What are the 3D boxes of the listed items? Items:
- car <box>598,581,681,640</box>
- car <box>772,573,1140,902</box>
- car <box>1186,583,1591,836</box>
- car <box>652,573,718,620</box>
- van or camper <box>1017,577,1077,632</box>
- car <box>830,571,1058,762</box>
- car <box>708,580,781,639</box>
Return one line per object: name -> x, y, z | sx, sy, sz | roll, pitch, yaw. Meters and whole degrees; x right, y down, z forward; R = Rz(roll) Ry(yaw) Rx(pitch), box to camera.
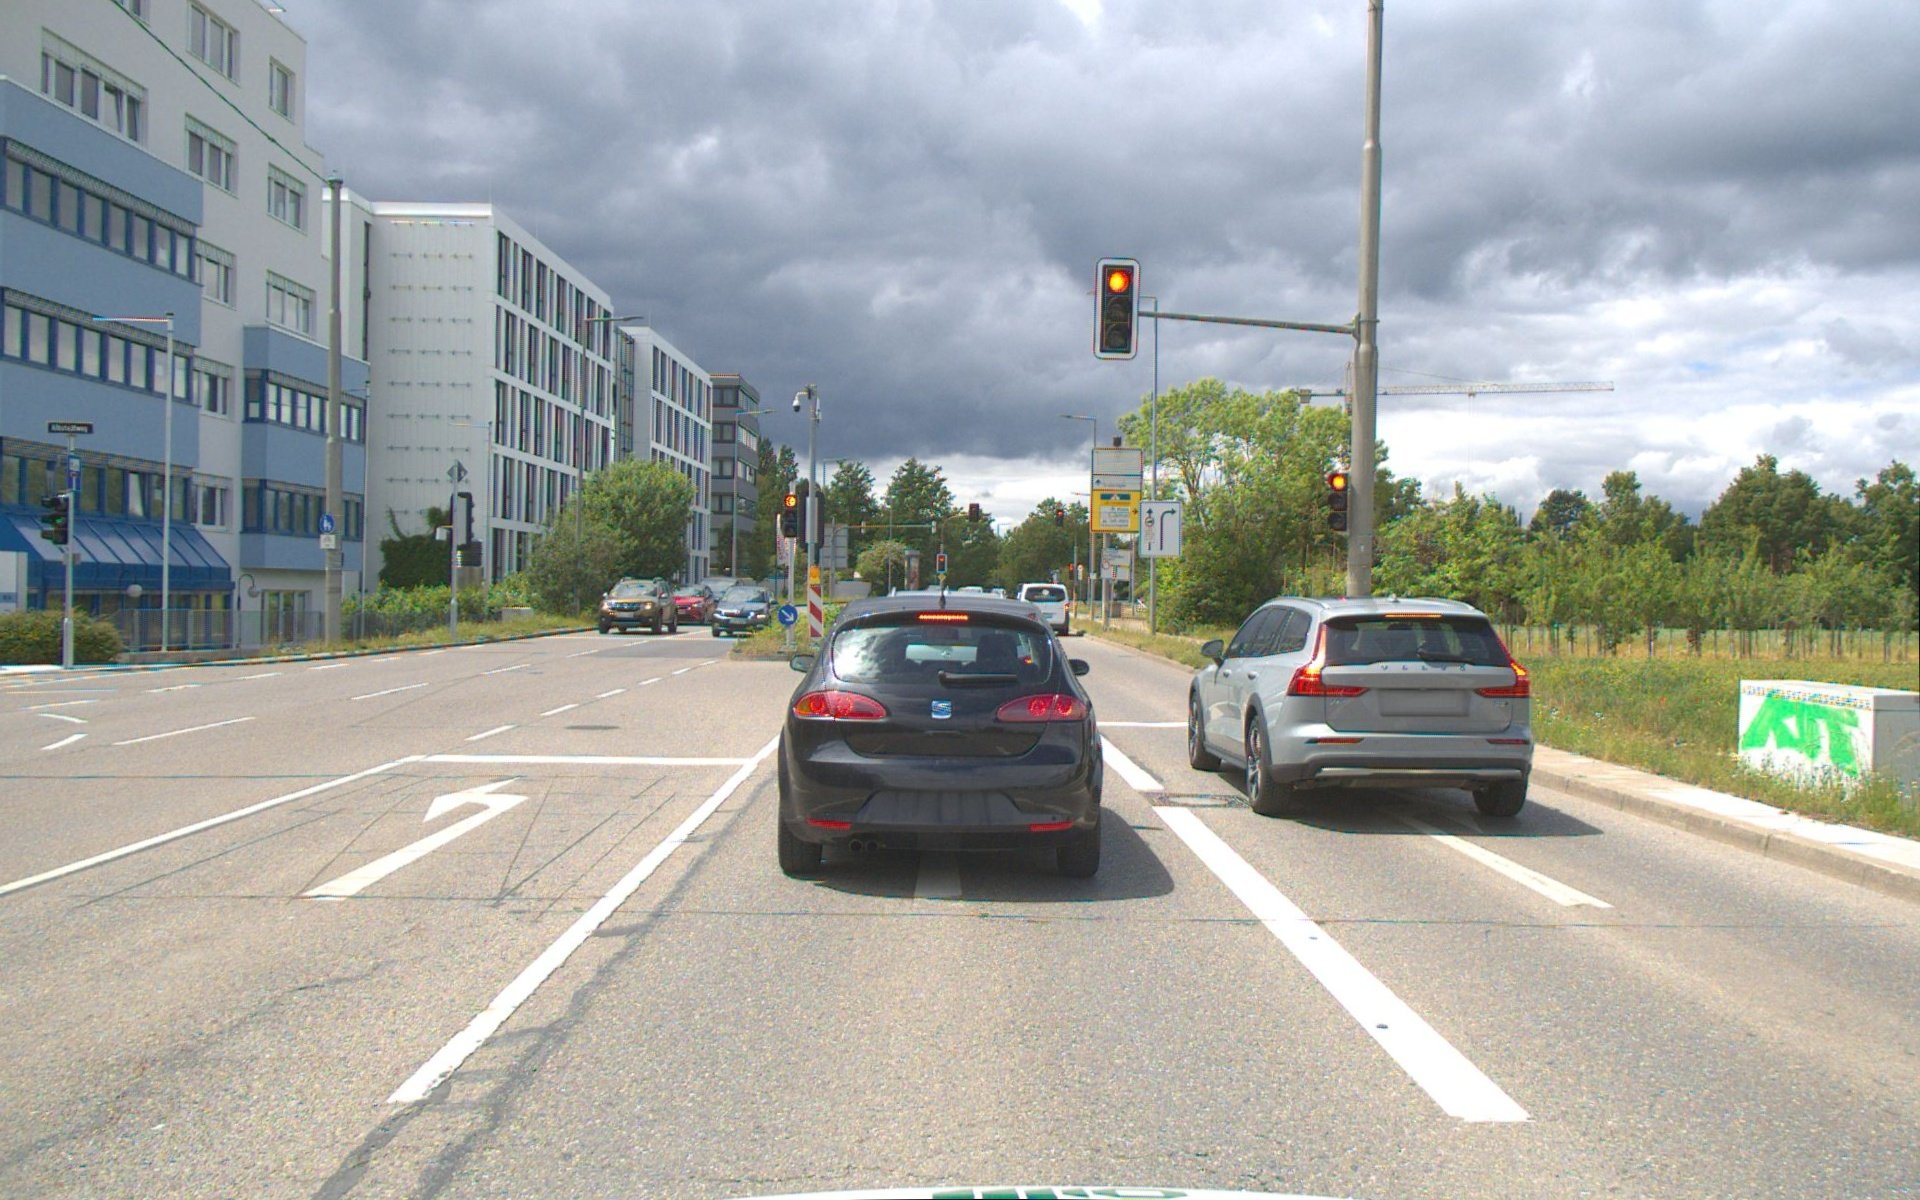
car -> -9.497, 0.287, 49.276 | 1.715, 1.659, 3.999 | -1, 0, -1
car -> 0.066, 0.661, 9.897 | 1.711, 1.509, 4.001 | 2, 0, 2
car -> 2.990, 0.697, 12.557 | 1.918, 1.552, 4.339 | -1, 0, 0
car -> -9.871, -0.117, 59.609 | 1.740, 1.640, 3.999 | 0, 0, -1
van or camper -> 3.182, 0.183, 61.118 | 1.861, 1.959, 3.999 | 0, 0, -2
car -> -0.187, 0.569, 16.392 | 1.943, 1.618, 4.224 | 1, 0, -2
car -> -6.289, 0.234, 48.533 | 1.635, 1.551, 4.008 | -1, 2, -1
